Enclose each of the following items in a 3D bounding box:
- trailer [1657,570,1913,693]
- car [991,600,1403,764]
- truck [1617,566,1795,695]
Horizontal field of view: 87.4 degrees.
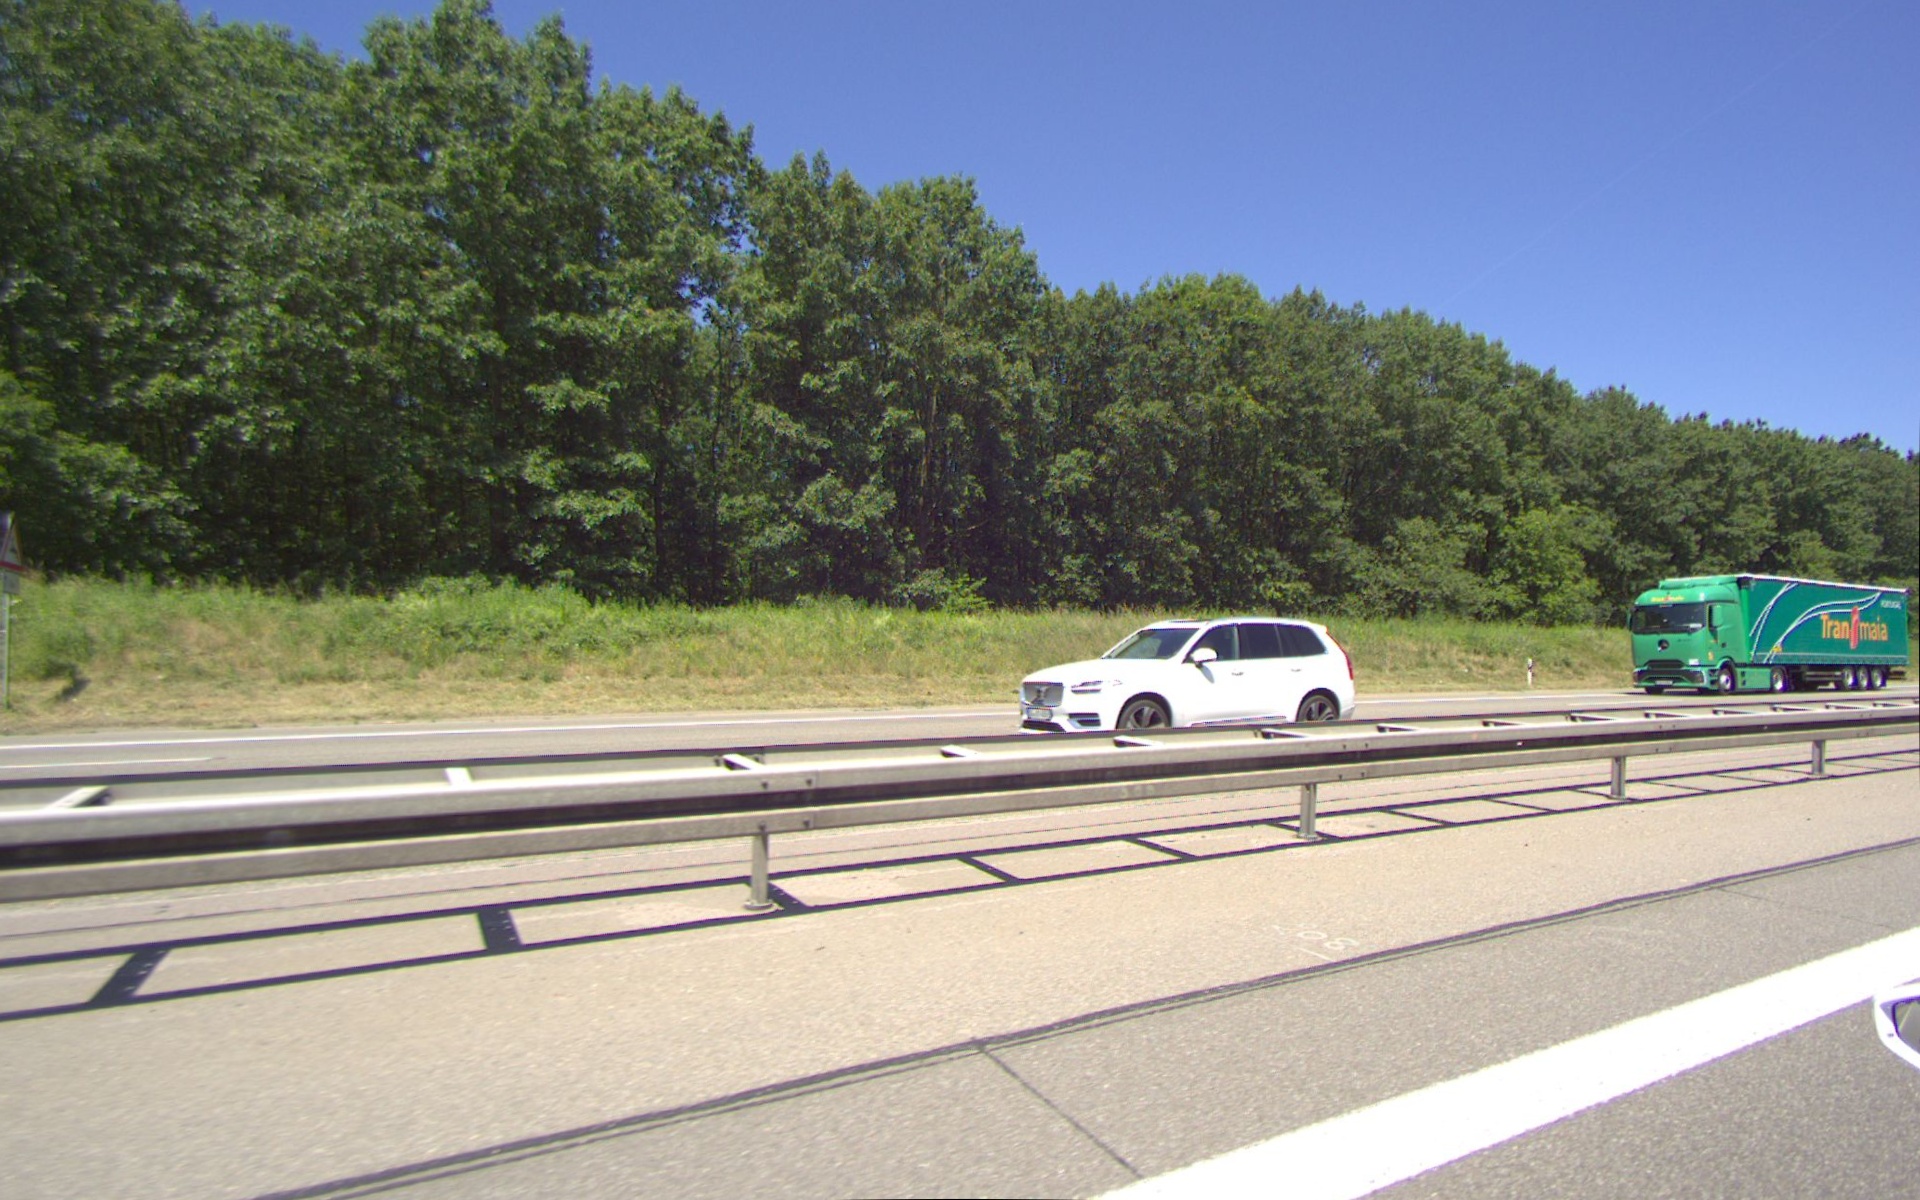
[{"bbox_3d":[32.291,1.356,38.966,14.167,4.214,2.693,2,-4,-30],"label":"trailer"},{"bbox_3d":[3.261,1.038,13.414,5.496,1.815,1.946,2,-4,-30],"label":"car"},{"bbox_3d":[26.480,1.158,35.617,6.221,4.214,2.689,2,-4,-30],"label":"truck"}]
